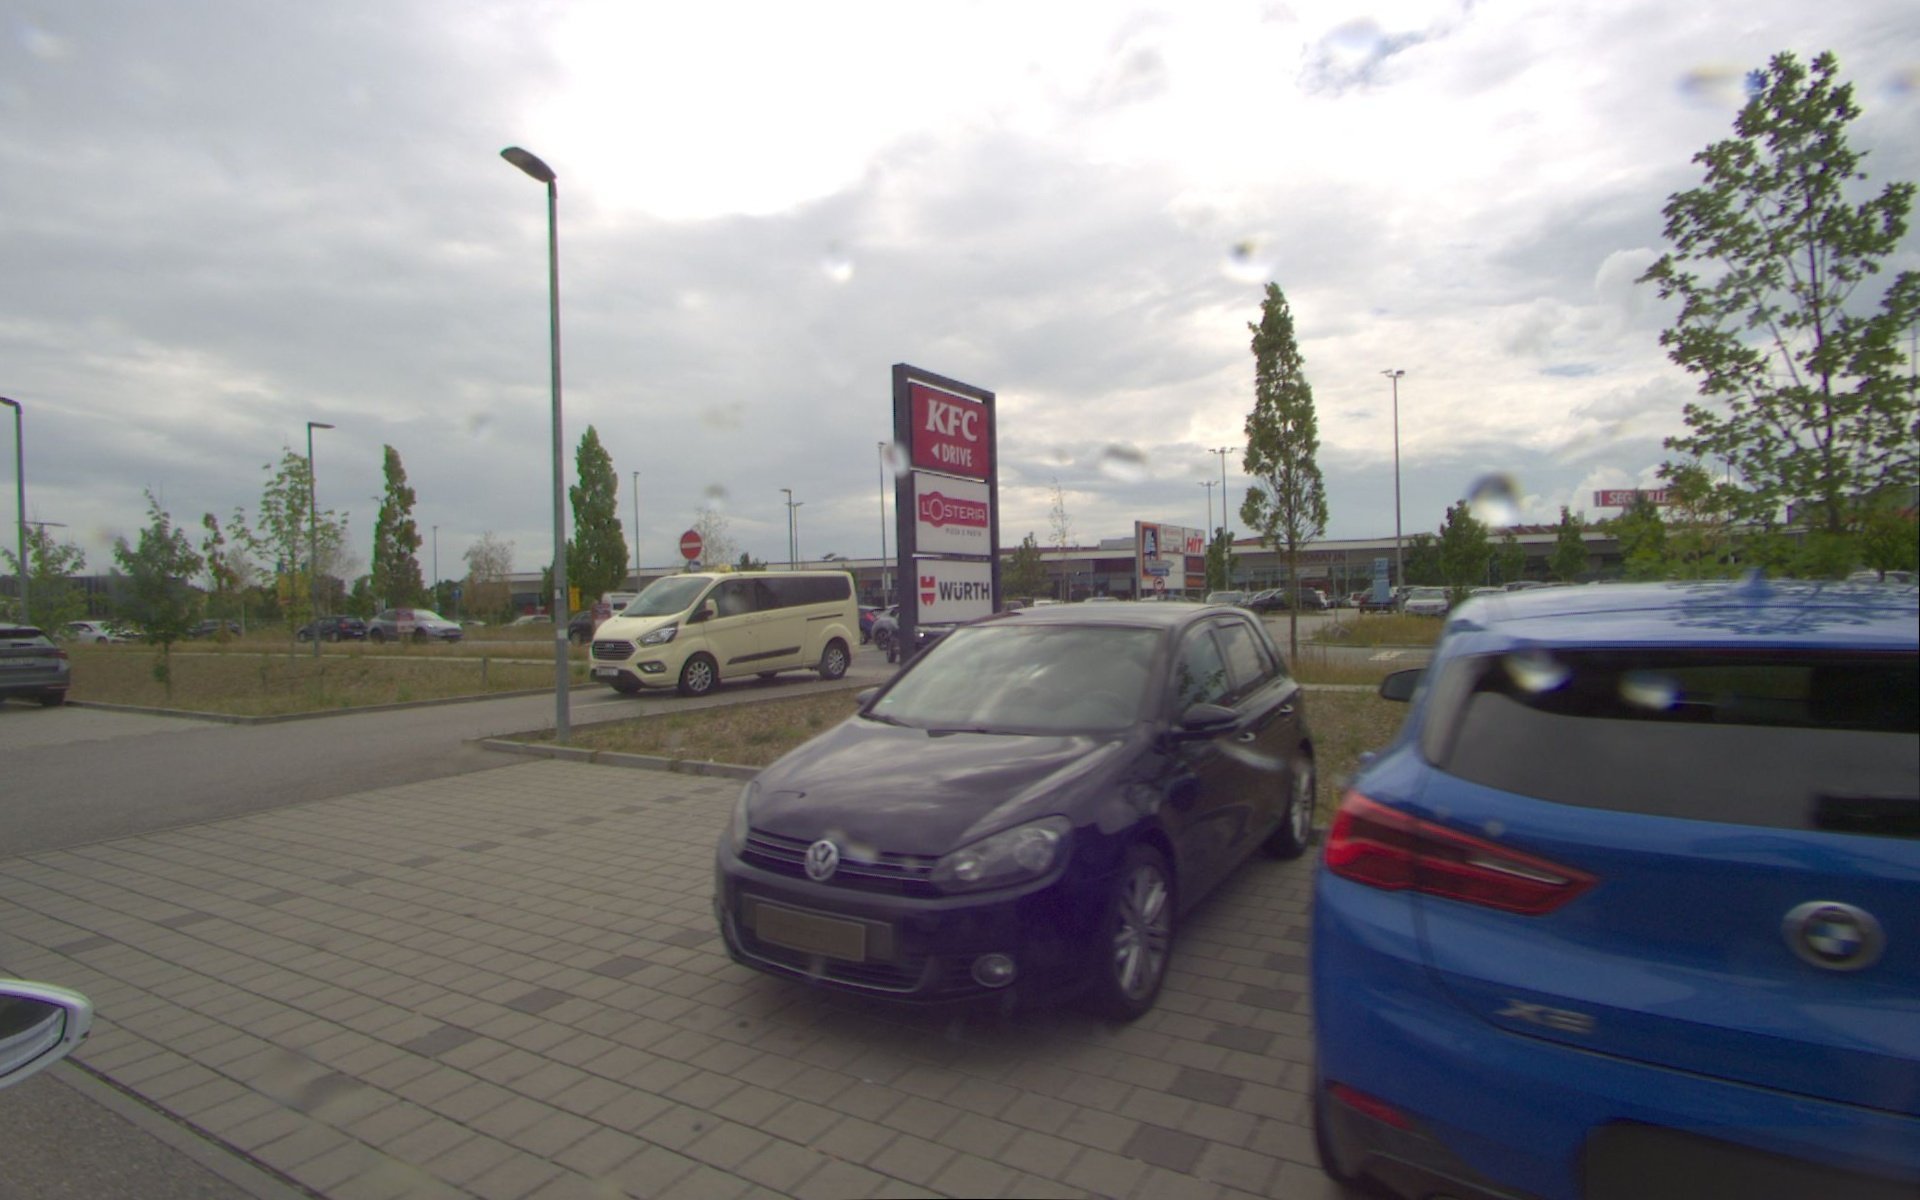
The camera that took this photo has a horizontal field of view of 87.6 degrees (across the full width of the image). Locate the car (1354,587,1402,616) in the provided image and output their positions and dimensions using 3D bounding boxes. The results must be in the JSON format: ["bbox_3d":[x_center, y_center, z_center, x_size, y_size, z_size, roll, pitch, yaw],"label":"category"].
[{"bbox_3d":[24.369,0.055,58.279,1.971,1.560,4.137,-1,1,32],"label":"car"}]

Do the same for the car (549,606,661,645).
[{"bbox_3d":[-13.875,0.988,39.094,4.153,1.413,1.762,-1,0,27],"label":"car"}]

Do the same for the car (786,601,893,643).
[{"bbox_3d":[-4.681,0.848,38.786,3.863,1.479,1.652,-1,1,31],"label":"car"}]

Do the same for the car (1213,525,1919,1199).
[{"bbox_3d":[2.367,0.686,3.240,1.838,1.564,4.194,-1,-1,32],"label":"car"}]

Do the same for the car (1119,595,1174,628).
[{"bbox_3d":[9.720,0.582,51.960,1.966,1.560,4.042,-1,1,23],"label":"car"}]

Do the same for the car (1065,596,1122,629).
[{"bbox_3d":[7.155,0.635,53.361,1.966,1.560,4.042,-1,1,23],"label":"car"}]

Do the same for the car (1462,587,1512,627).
[{"bbox_3d":[22.585,0.272,43.015,1.743,1.560,4.039,-1,1,25],"label":"car"}]

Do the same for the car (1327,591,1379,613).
[{"bbox_3d":[35.206,0.178,89.765,4.110,1.863,1.996,-1,1,16],"label":"car"}]

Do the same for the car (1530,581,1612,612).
[{"bbox_3d":[39.762,-0.237,65.255,4.110,1.863,1.996,-1,1,16],"label":"car"}]

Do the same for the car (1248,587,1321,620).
[{"bbox_3d":[19.419,0.214,60.107,4.110,1.863,1.996,-1,1,16],"label":"car"}]

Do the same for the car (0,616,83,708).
[{"bbox_3d":[-17.392,1.049,17.546,4.410,1.488,1.749,-1,-1,30],"label":"car"}]

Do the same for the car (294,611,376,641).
[{"bbox_3d":[-34.621,1.438,55.426,4.353,1.506,1.921,-1,1,28],"label":"car"}]

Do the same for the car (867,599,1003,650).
[{"bbox_3d":[-0.810,0.751,31.690,3.944,1.479,1.819,-1,1,33],"label":"car"}]

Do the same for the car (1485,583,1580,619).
[{"bbox_3d":[31.282,0.030,54.852,4.110,1.863,1.996,-1,1,16],"label":"car"}]

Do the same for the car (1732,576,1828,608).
[{"bbox_3d":[51.034,-0.518,62.410,4.110,1.863,1.997,-1,1,15],"label":"car"}]

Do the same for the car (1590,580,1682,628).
[{"bbox_3d":[27.339,0.107,40.656,1.964,1.796,4.312,-1,1,18],"label":"car"}]

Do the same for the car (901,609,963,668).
[{"bbox_3d":[-0.738,0.931,25.227,1.438,1.354,3.163,-1,0,-3],"label":"car"}]

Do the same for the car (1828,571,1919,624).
[{"bbox_3d":[34.019,-0.129,36.959,1.900,1.796,4.304,-1,1,25],"label":"car"}]

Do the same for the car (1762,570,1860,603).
[{"bbox_3d":[50.512,-0.803,59.530,3.927,1.796,1.997,-1,1,15],"label":"car"}]

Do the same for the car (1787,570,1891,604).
[{"bbox_3d":[49.716,-0.735,56.739,3.926,1.796,1.997,-1,1,15],"label":"car"}]

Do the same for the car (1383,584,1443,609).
[{"bbox_3d":[35.800,-0.267,79.240,4.110,1.863,1.996,-1,1,16],"label":"car"}]

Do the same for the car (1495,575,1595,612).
[{"bbox_3d":[30.546,-0.346,52.391,4.110,1.863,1.996,-1,1,16],"label":"car"}]

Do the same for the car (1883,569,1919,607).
[{"bbox_3d":[48.205,-0.635,49.059,3.924,1.796,1.998,-1,1,9],"label":"car"}]

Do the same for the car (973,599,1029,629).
[{"bbox_3d":[2.354,0.764,56.896,1.876,1.560,4.042,-1,1,23],"label":"car"}]

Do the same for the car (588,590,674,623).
[{"bbox_3d":[-23.355,0.426,71.294,2.306,2.150,5.566,-1,1,32],"label":"car"}]

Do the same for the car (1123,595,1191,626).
[{"bbox_3d":[12.669,0.653,64.421,4.110,1.863,1.996,-1,1,16],"label":"car"}]

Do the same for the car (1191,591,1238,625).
[{"bbox_3d":[12.736,0.392,49.993,1.743,1.560,3.751,-1,1,23],"label":"car"}]

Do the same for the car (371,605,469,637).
[{"bbox_3d":[-25.063,0.957,46.453,4.487,1.413,1.761,-1,0,27],"label":"car"}]

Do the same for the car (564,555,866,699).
[{"bbox_3d":[-4.013,0.382,17.464,1.972,2.114,5.201,0,1,32],"label":"car"}]

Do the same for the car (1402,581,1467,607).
[{"bbox_3d":[36.104,-0.449,76.288,4.110,1.863,1.996,-1,1,16],"label":"car"}]

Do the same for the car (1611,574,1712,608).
[{"bbox_3d":[39.574,-0.505,56.590,4.242,1.796,1.997,-1,1,15],"label":"car"}]

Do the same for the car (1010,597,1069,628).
[{"bbox_3d":[4.421,0.672,55.217,1.835,1.521,4.057,-1,1,26],"label":"car"}]

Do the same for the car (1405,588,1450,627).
[{"bbox_3d":[20.783,0.301,44.517,1.743,1.560,4.039,-1,1,25],"label":"car"}]

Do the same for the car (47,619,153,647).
[{"bbox_3d":[-45.668,1.740,53.226,4.471,1.413,1.768,-1,0,8],"label":"car"}]

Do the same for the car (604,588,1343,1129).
[{"bbox_3d":[0.518,0.699,4.936,1.751,1.479,4.051,0,1,33],"label":"car"}]
